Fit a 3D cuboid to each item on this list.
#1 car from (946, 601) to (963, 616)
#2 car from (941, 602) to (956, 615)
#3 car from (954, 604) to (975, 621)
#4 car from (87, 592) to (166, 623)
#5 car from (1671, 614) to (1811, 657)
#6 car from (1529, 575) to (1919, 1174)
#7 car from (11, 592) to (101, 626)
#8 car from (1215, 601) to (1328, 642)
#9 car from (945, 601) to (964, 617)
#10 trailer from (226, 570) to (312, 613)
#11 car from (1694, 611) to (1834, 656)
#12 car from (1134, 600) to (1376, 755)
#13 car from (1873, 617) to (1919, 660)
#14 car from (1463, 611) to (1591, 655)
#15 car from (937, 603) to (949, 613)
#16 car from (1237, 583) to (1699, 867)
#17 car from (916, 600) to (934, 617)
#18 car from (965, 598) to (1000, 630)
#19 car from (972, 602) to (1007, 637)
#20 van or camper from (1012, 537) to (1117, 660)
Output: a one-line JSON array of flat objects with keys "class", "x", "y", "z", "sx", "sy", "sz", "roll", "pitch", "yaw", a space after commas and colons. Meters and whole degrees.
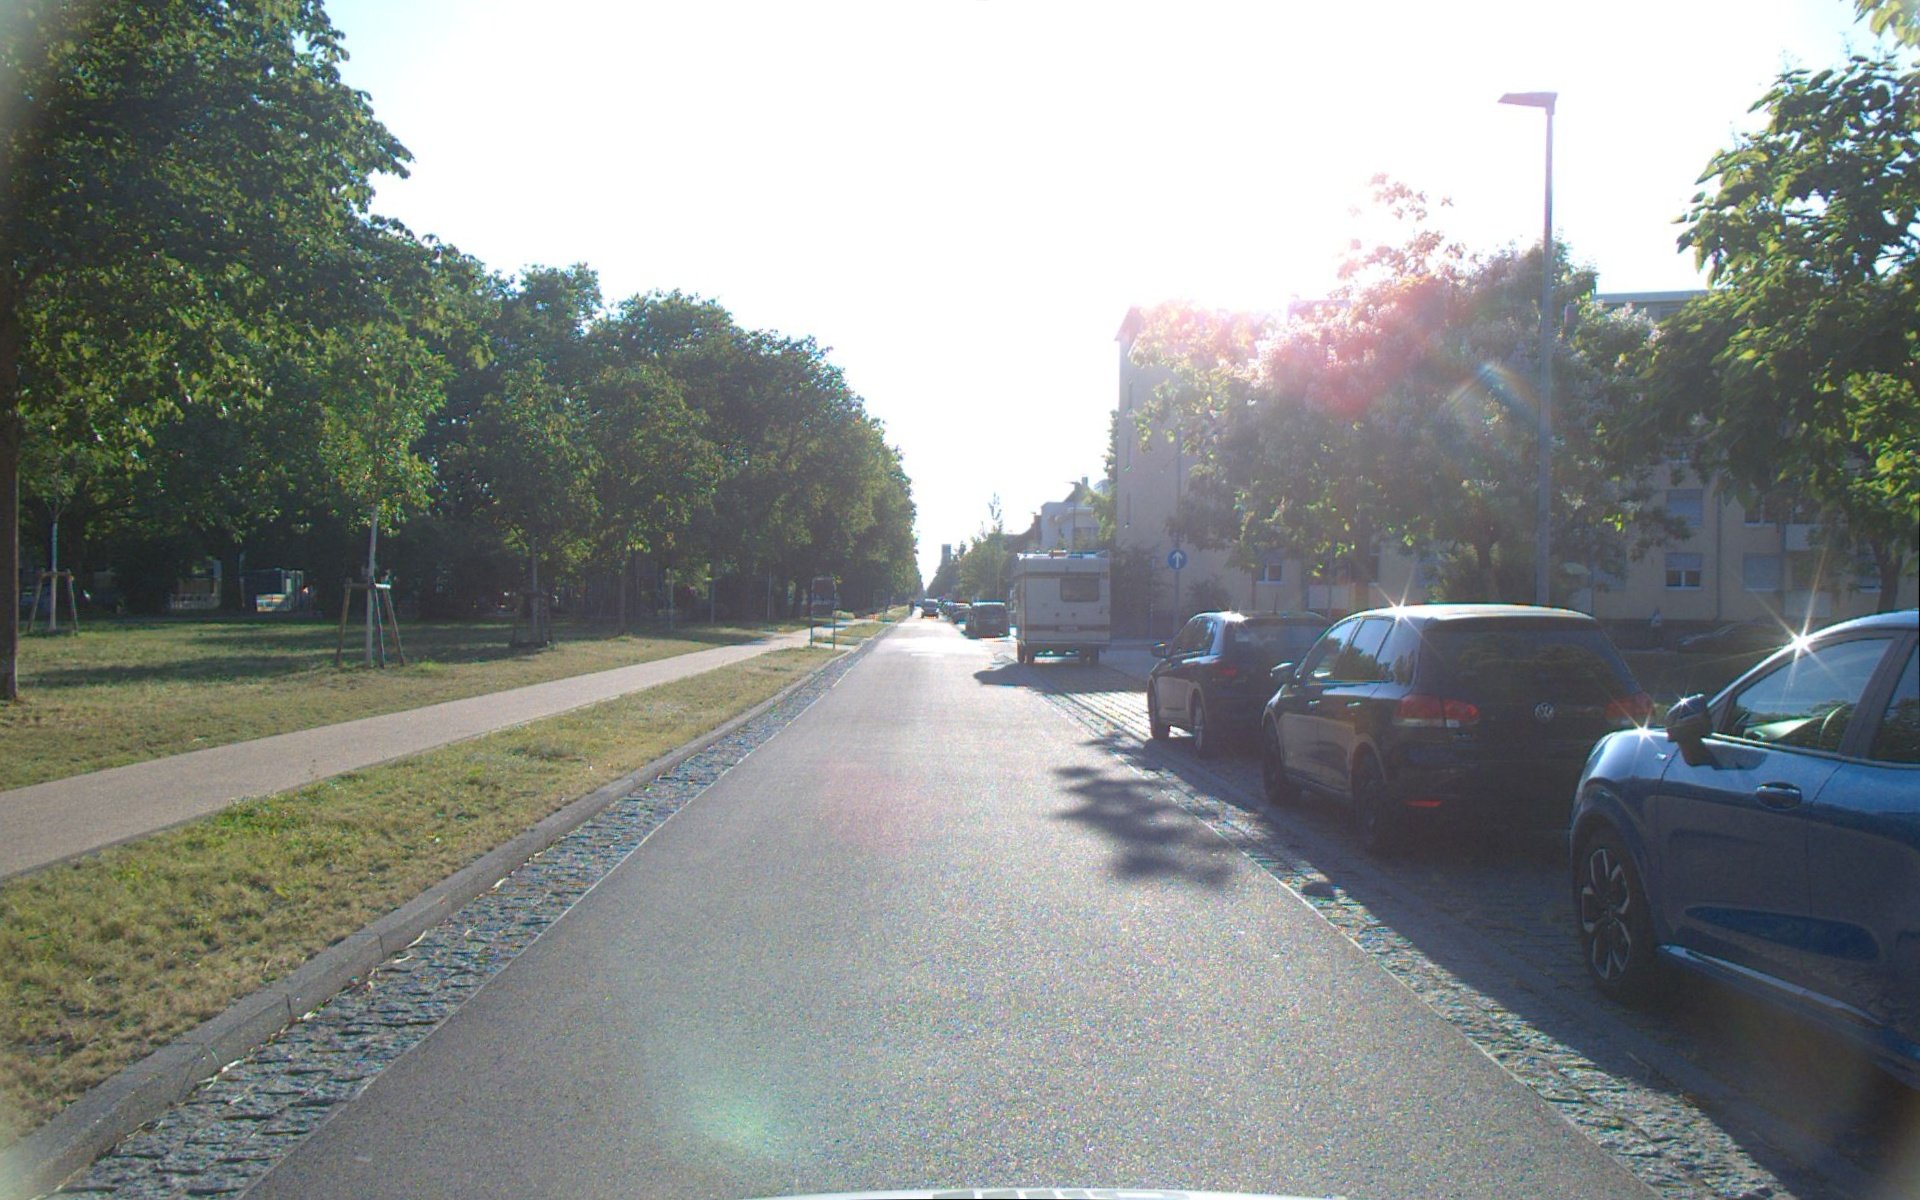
[{"class": "car", "x": -0.576, "y": 0.886, "z": 168.486, "sx": 1.593, "sy": 1.434, "sz": 4.248, "roll": 0, "pitch": 0, "yaw": -2}, {"class": "car", "x": -1.344, "y": 0.942, "z": 185.260, "sx": 1.593, "sy": 1.434, "sz": 4.248, "roll": 0, "pitch": 0, "yaw": -2}, {"class": "car", "x": 0.364, "y": 1.042, "z": 137.378, "sx": 1.593, "sy": 1.434, "sz": 4.248, "roll": 0, "pitch": 0, "yaw": -2}, {"class": "car", "x": -42.622, "y": 0.406, "z": 84.657, "sx": 1.953, "sy": 1.534, "sz": 4.114, "roll": 0, "pitch": 0, "yaw": 0}, {"class": "car", "x": 26.289, "y": 1.174, "z": 55.822, "sx": 4.108, "sy": 1.381, "sz": 1.693, "roll": 0, "pitch": -1, "yaw": 20}, {"class": "car", "x": 3.382, "y": 0.737, "z": 5.220, "sx": 1.696, "sy": 1.578, "sz": 4.275, "roll": 0, "pitch": 0, "yaw": 0}, {"class": "car", "x": -42.393, "y": 0.443, "z": 77.677, "sx": 1.953, "sy": 1.534, "sz": 4.114, "roll": 0, "pitch": 0, "yaw": 0}, {"class": "car", "x": 12.188, "y": 0.840, "z": 64.853, "sx": 4.107, "sy": 1.557, "sz": 2.001, "roll": 0, "pitch": -1, "yaw": 3}, {"class": "car", "x": -0.477, "y": 0.821, "z": 148.993, "sx": 1.593, "sy": 1.434, "sz": 4.248, "roll": 0, "pitch": 0, "yaw": -2}, {"class": "trailer", "x": -43.003, "y": -0.478, "z": 103.097, "sx": 2.409, "sy": 2.532, "sz": 7.048, "roll": 0, "pitch": 0, "yaw": 0}, {"class": "car", "x": 29.677, "y": 1.229, "z": 61.152, "sx": 4.416, "sy": 1.597, "sz": 1.881, "roll": 0, "pitch": -1, "yaw": 18}, {"class": "car", "x": 3.072, "y": 0.762, "z": 18.049, "sx": 1.594, "sy": 1.490, "sz": 4.245, "roll": 1, "pitch": 0, "yaw": -4}, {"class": "car", "x": 34.610, "y": 1.362, "z": 58.608, "sx": 3.910, "sy": 1.478, "sz": 1.878, "roll": 0, "pitch": -1, "yaw": 27}, {"class": "car", "x": 19.688, "y": 1.129, "z": 57.570, "sx": 4.105, "sy": 1.488, "sz": 1.694, "roll": 0, "pitch": -1, "yaw": 14}, {"class": "car", "x": -2.403, "y": 1.111, "z": 237.266, "sx": 1.593, "sy": 1.434, "sz": 4.248, "roll": 0, "pitch": 0, "yaw": -2}, {"class": "car", "x": 3.223, "y": 0.717, "z": 11.469, "sx": 1.697, "sy": 1.578, "sz": 4.420, "roll": 1, "pitch": 0, "yaw": -2}, {"class": "car", "x": -3.567, "y": 0.826, "z": 168.737, "sx": 1.789, "sy": 1.698, "sz": 4.248, "roll": 0, "pitch": 0, "yaw": -2}, {"class": "car", "x": 1.333, "y": 0.803, "z": 95.024, "sx": 1.952, "sy": 1.747, "sz": 4.001, "roll": 0, "pitch": 0, "yaw": 1}, {"class": "car", "x": 1.489, "y": 0.976, "z": 84.023, "sx": 1.593, "sy": 1.698, "sz": 4.248, "roll": 0, "pitch": 0, "yaw": -2}, {"class": "van or camper", "x": 2.612, "y": 0.019, "z": 42.773, "sx": 2.189, "sy": 2.955, "sz": 5.670, "roll": 0, "pitch": -1, "yaw": -2}]
